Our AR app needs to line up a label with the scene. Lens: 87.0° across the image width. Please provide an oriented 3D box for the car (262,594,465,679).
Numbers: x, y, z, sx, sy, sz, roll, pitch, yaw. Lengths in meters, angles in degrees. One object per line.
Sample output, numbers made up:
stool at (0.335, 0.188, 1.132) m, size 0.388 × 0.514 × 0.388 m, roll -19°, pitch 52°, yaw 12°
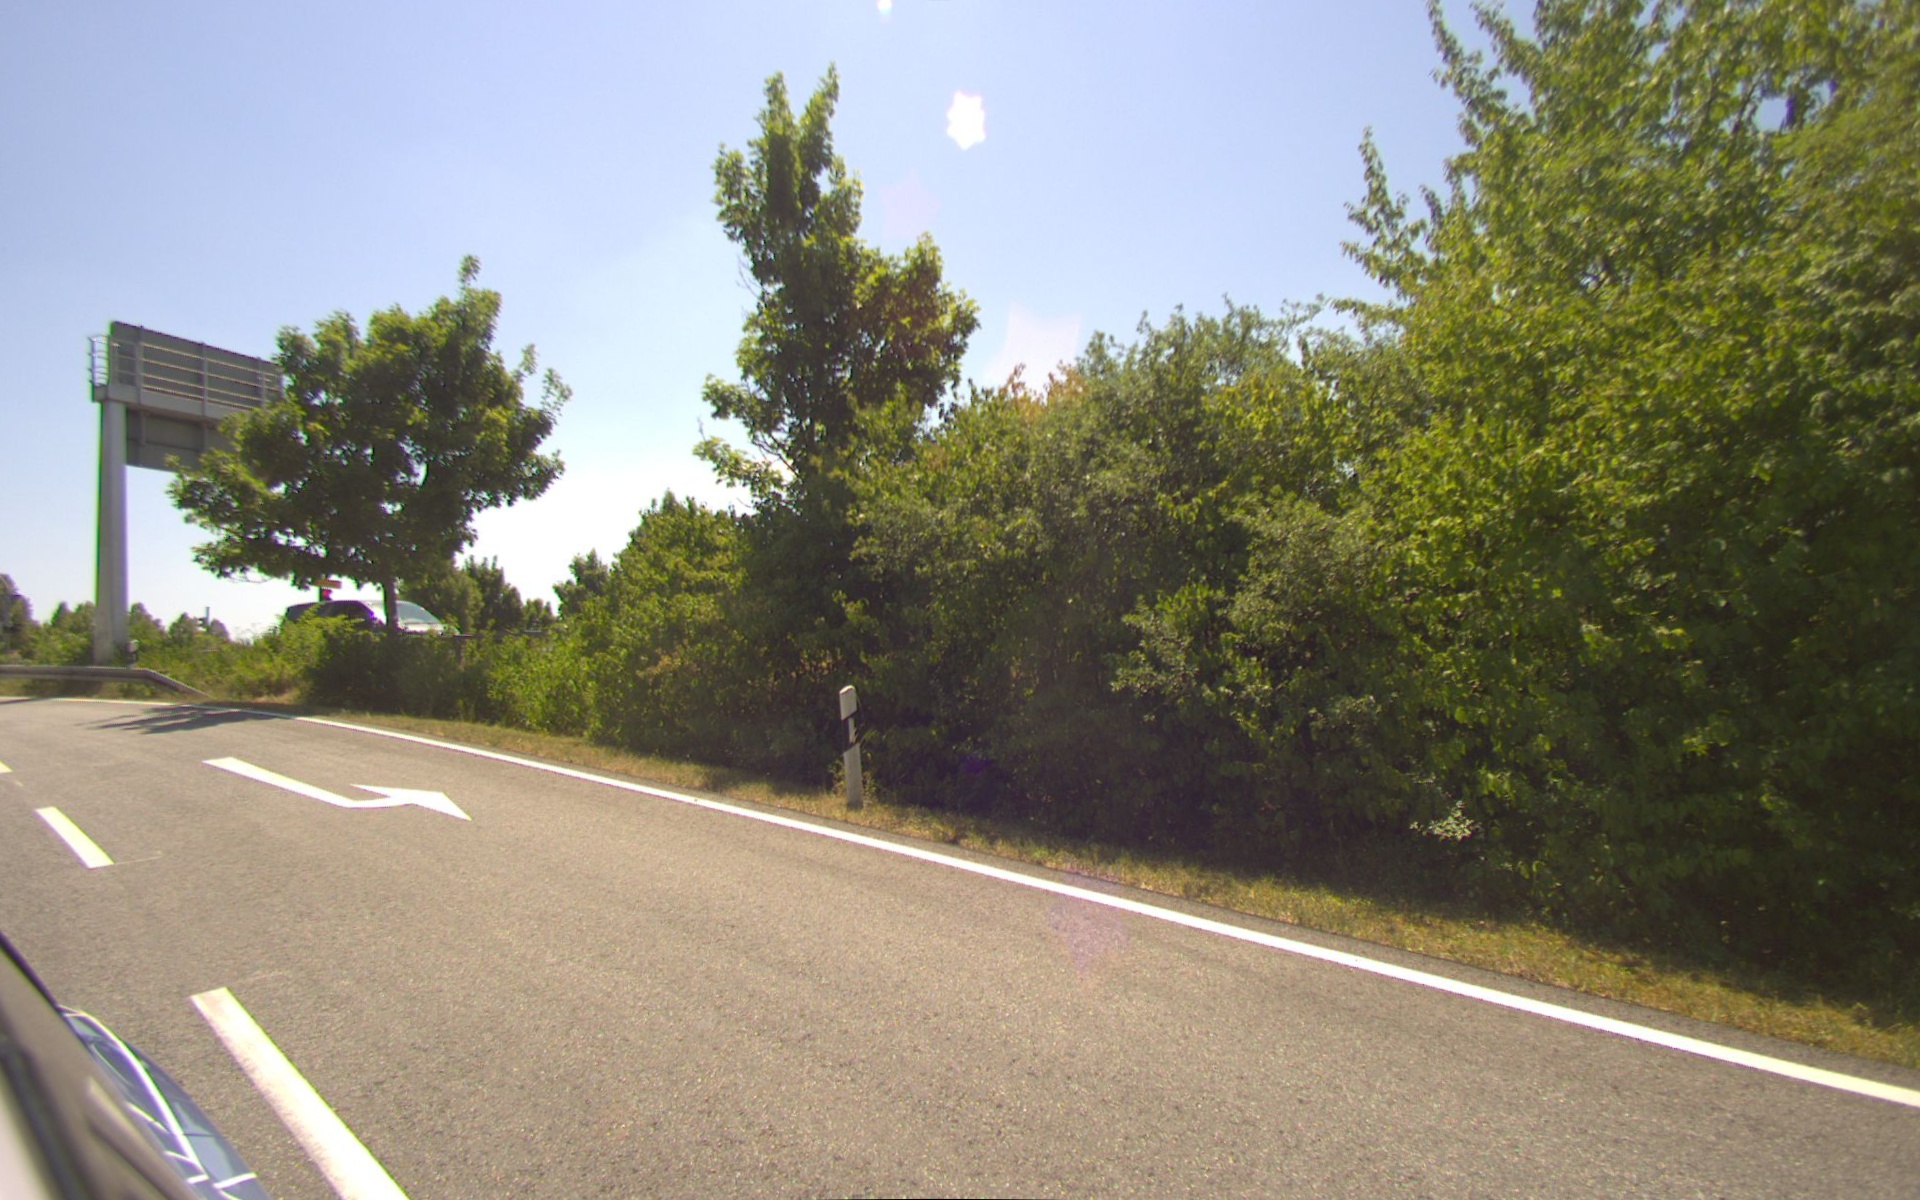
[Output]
car at (-14.921, 0.977, 25.370) m, size 4.497 × 1.934 × 1.932 m, roll -2°, pitch -4°, yaw 19°
